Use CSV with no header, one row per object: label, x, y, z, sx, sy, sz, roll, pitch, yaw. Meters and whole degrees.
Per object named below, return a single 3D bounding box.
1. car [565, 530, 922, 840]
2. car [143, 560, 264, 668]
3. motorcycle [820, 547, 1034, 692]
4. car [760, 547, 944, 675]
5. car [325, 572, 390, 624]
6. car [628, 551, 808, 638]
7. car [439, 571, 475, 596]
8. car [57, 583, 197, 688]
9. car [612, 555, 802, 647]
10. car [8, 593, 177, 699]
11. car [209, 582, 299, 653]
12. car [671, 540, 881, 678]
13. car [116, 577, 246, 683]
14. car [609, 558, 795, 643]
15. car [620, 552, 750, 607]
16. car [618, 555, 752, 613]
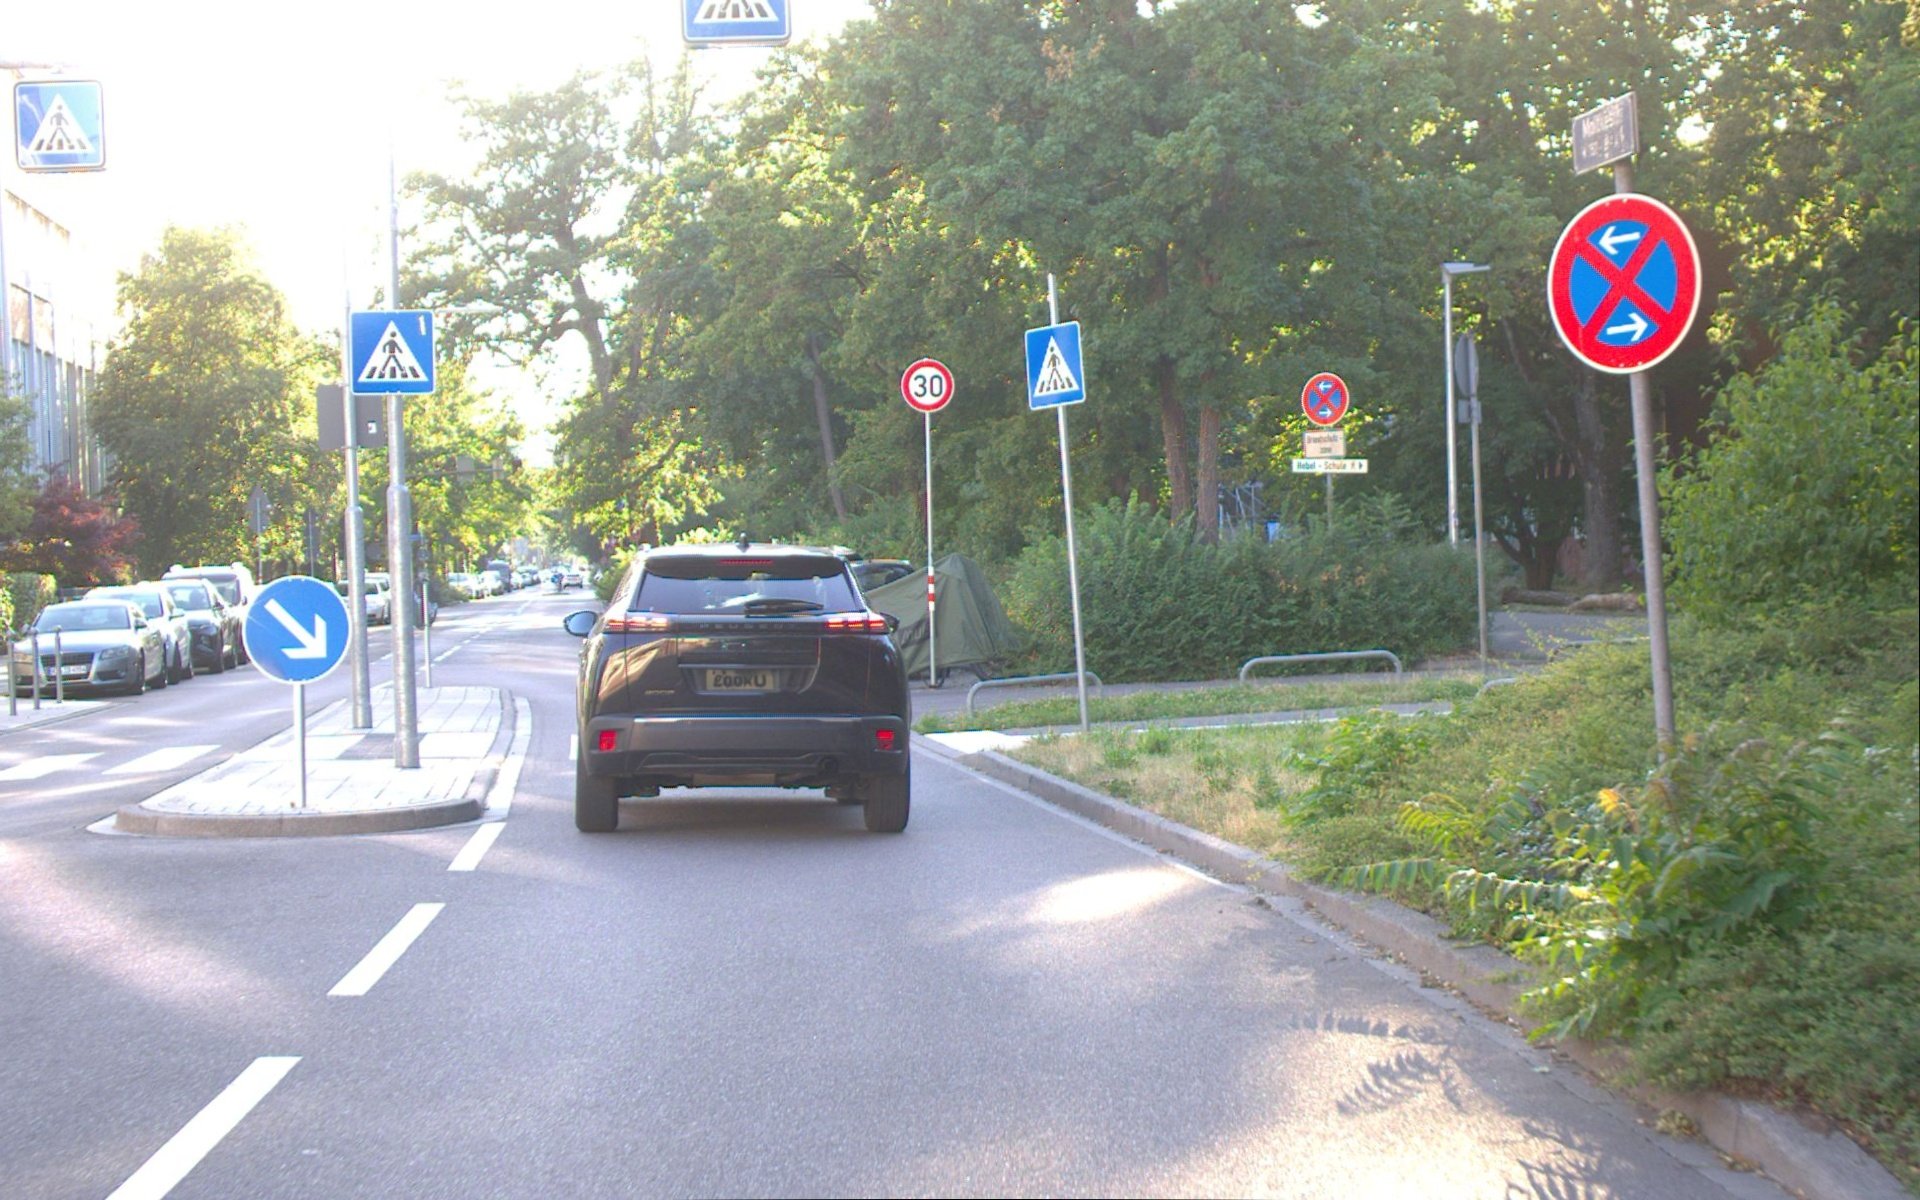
car,-1.282,0.411,19.064,1.768,1.563,3.381,0,1,-7
car,-14.453,0.233,65.869,1.807,1.883,4.239,-3,1,-7
motorcycle,-0.364,0.213,39.320,2.292,1.539,1.039,-2,1,5
car,-1.412,0.123,43.576,1.619,1.481,3.420,-3,1,-13
car,-18.989,-0.080,108.493,1.670,1.488,4.062,-3,1,-6
car,-5.276,-0.125,74.707,3.665,1.547,1.735,-5,1,-8
car,-28.835,-0.955,196.907,1.810,1.349,4.001,-3,1,-11
car,-13.266,0.539,54.943,1.741,1.528,4.117,-3,1,-8
car,-5.140,0.003,69.634,3.609,1.520,1.672,-5,1,-8
car,-12.518,0.629,49.824,1.742,1.352,4.397,-3,1,-6
car,-15.503,0.359,75.619,1.598,1.450,3.862,-2,1,-7
car,-2.629,0.111,47.947,1.921,1.742,4.667,-3,1,-15
car,-13.743,0.495,60.817,1.742,1.670,4.417,-3,1,-7
car,-5.413,-0.002,71.998,3.665,1.440,1.735,-5,1,-8
car,-9.061,-0.668,113.416,4.170,1.704,1.867,-1,1,-2
car,-8.717,-0.507,108.688,4.121,1.661,1.723,-2,1,-6
